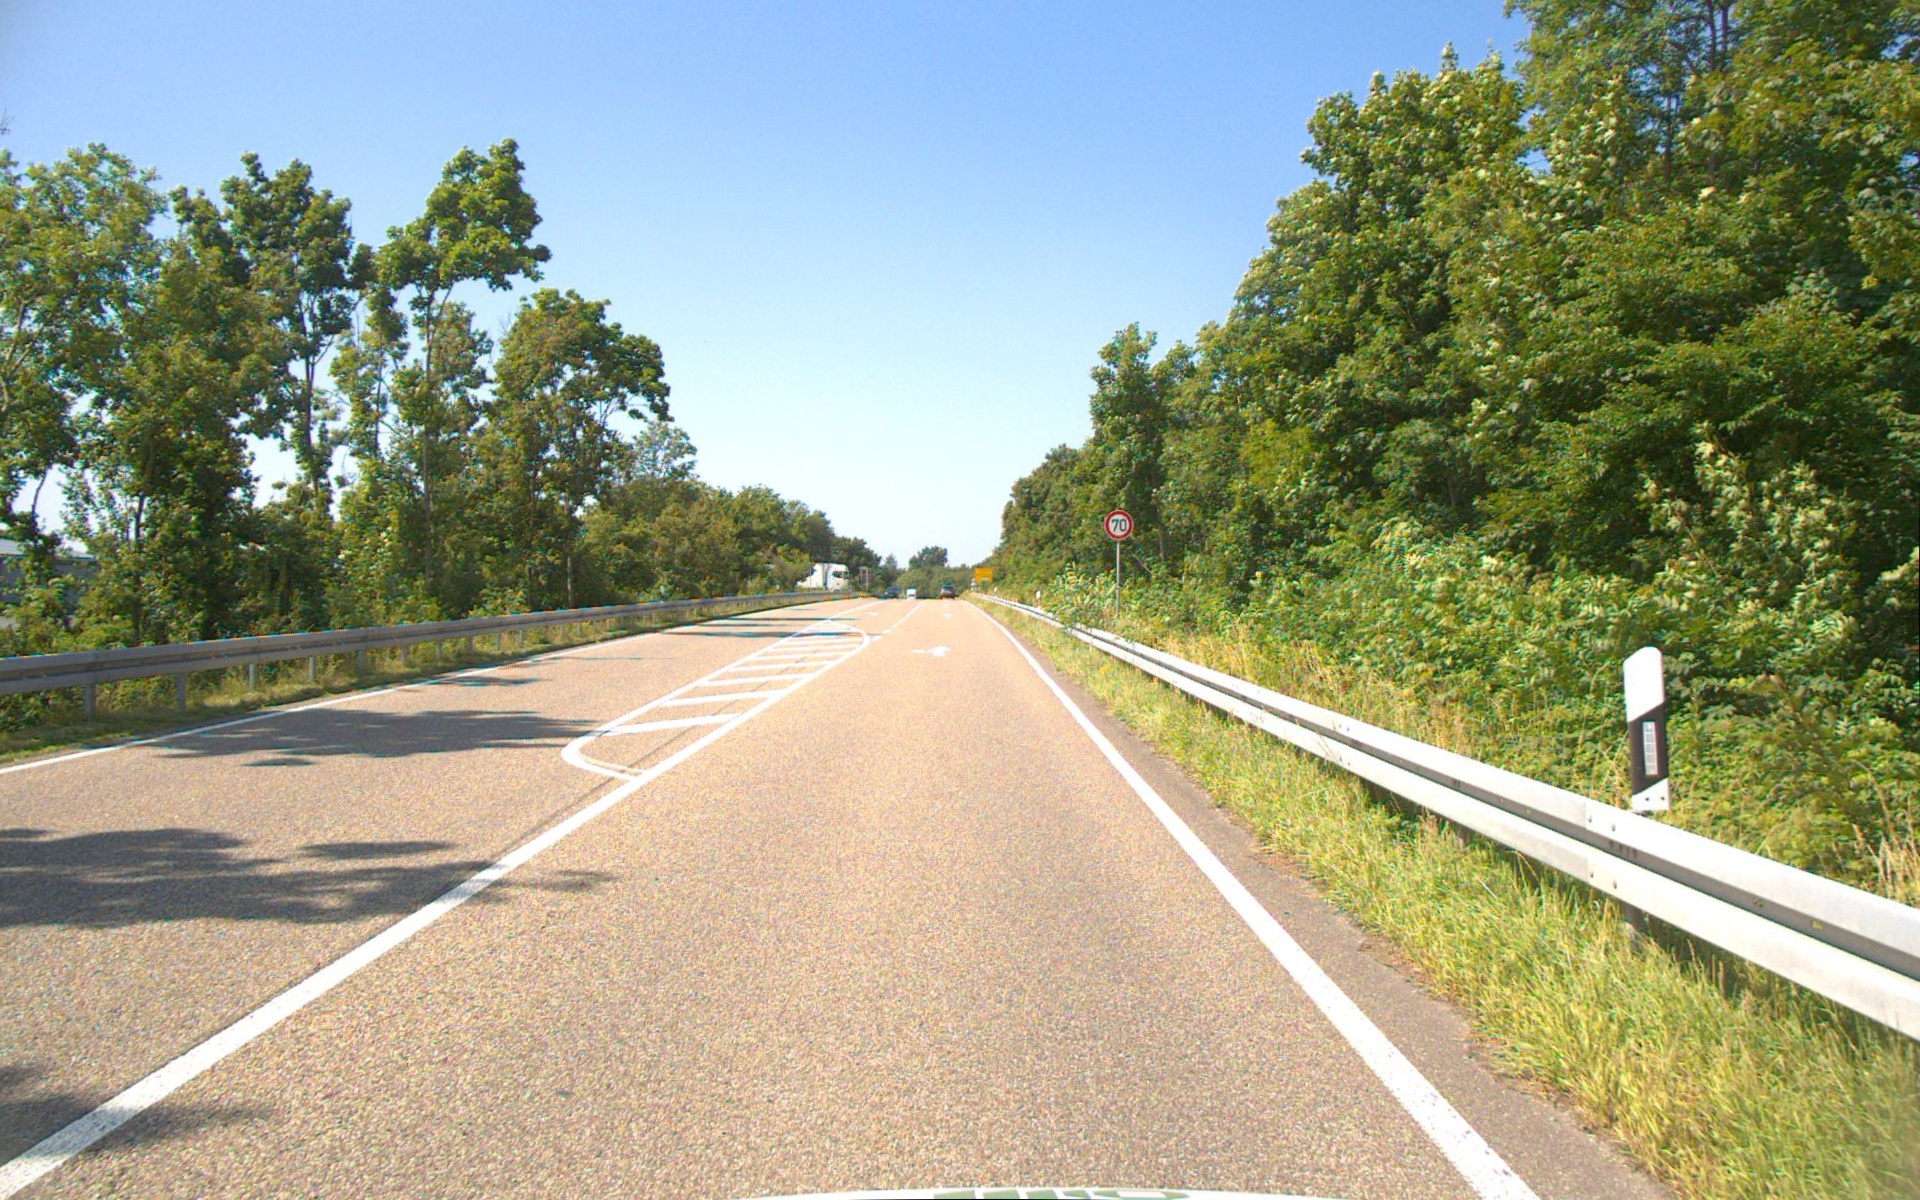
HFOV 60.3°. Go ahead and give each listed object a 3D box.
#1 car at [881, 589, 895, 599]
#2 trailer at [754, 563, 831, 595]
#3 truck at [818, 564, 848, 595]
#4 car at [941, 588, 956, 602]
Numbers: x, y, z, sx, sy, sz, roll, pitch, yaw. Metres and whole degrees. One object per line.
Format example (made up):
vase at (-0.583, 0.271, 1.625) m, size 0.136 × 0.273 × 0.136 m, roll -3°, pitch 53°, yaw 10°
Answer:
car at (-9.331, -0.807, 214.155) m, size 1.695 × 1.289 × 3.905 m, roll 1°, pitch 1°, yaw -1°
trailer at (-19.930, -2.471, 197.538) m, size 8.914 × 3.641 × 2.000 m, roll 1°, pitch 0°, yaw 1°
truck at (-15.128, -2.404, 197.458) m, size 3.394 × 3.599 × 2.000 m, roll 1°, pitch 0°, yaw 1°
car at (-1.311, -0.591, 189.332) m, size 1.705 × 1.496 × 3.692 m, roll 1°, pitch 0°, yaw -1°
